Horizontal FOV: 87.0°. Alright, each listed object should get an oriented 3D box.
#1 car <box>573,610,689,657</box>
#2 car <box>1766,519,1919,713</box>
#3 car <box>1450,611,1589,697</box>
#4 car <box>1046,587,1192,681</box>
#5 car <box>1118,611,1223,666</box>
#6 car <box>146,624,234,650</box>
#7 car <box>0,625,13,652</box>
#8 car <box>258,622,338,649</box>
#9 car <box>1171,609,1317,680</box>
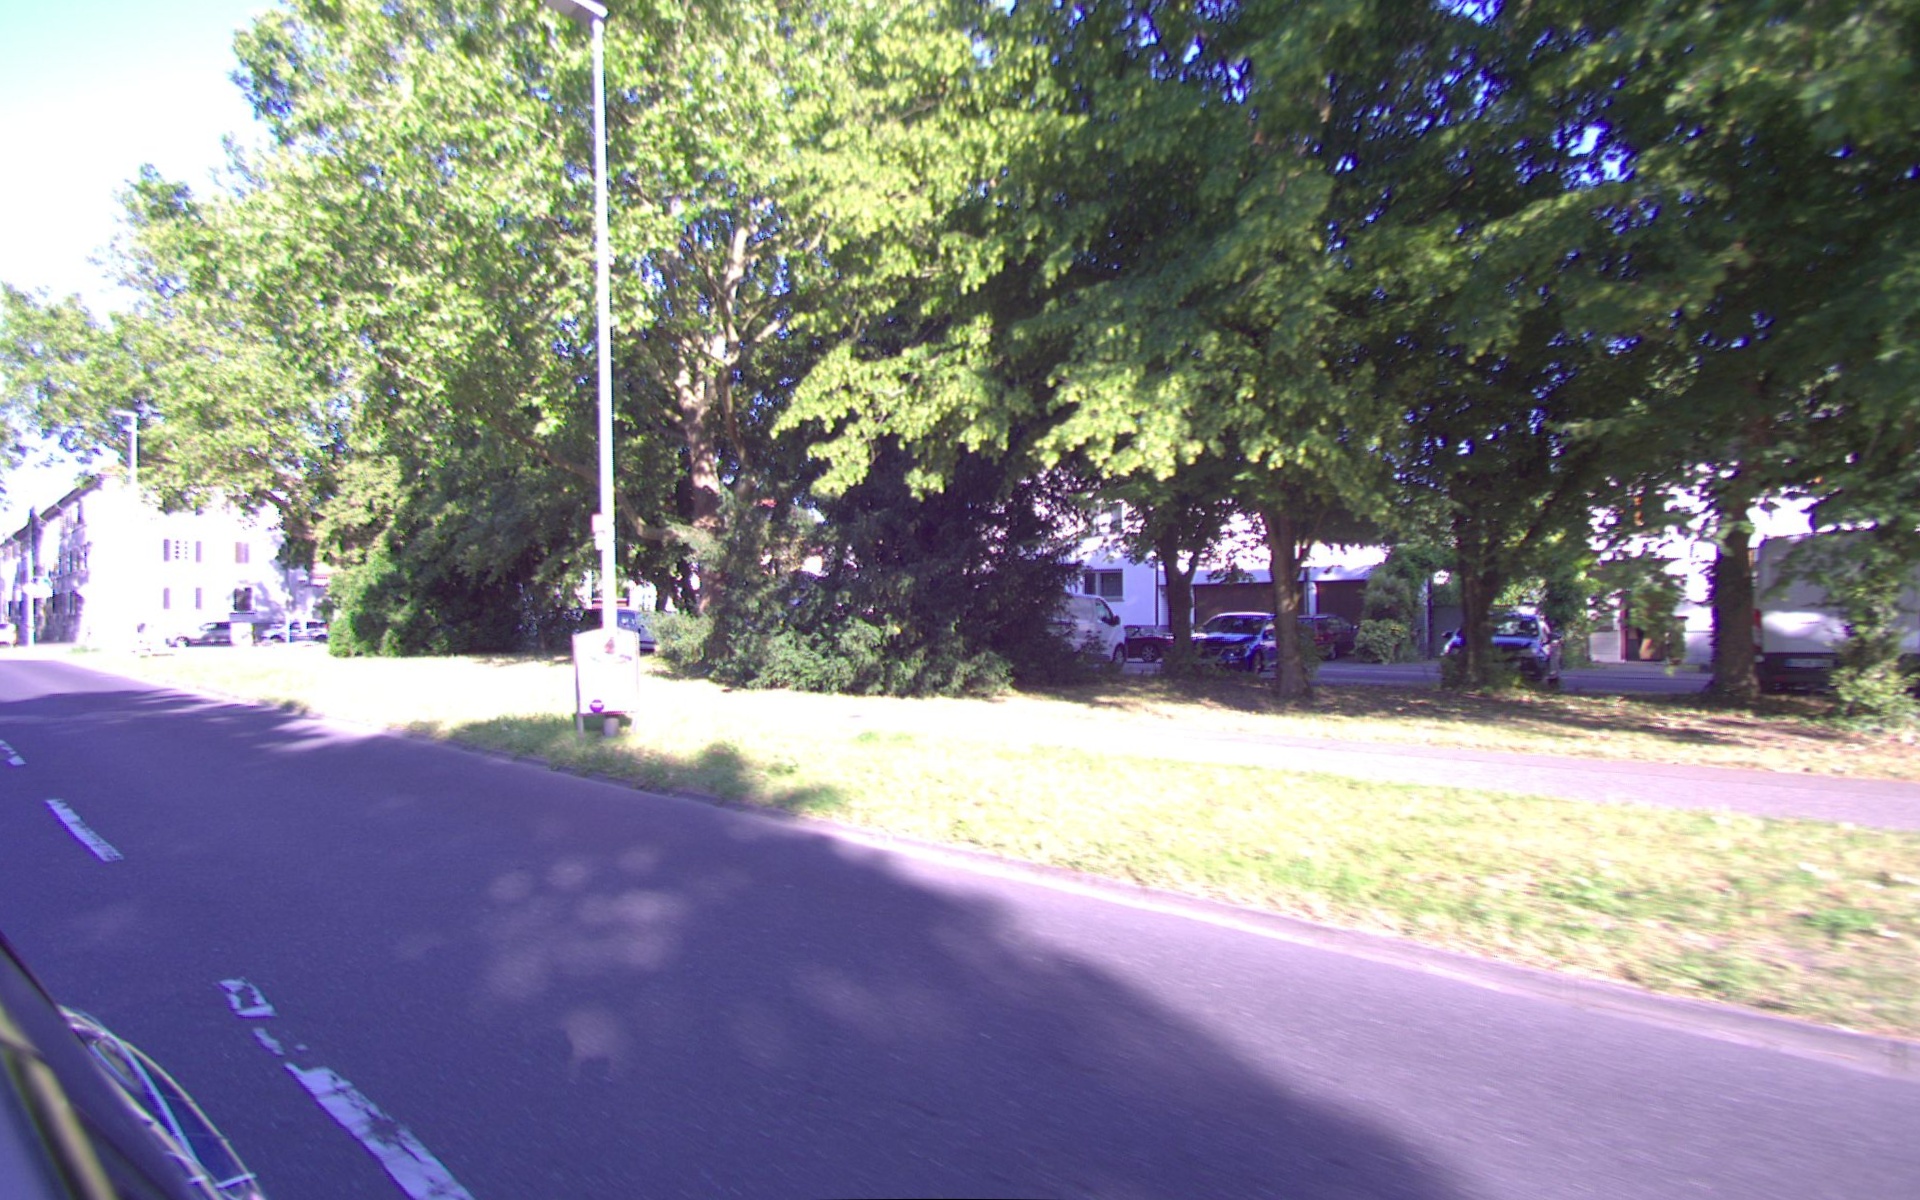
[{"bbox_3d":[-12.558,1.251,38.764,1.725,1.697,3.947,-1,-1,39],"label":"car"},{"bbox_3d":[13.823,0.307,15.537,2.184,2.521,5.376,-1,-3,39],"label":"car"},{"bbox_3d":[10.182,0.916,18.305,1.690,1.392,3.448,-1,-1,38],"label":"car"},{"bbox_3d":[3.903,0.776,24.306,1.903,2.060,3.954,-3,-2,34],"label":"car"},{"bbox_3d":[6.975,1.214,33.287,1.996,1.697,3.952,-1,-1,35],"label":"car"},{"bbox_3d":[-44.038,2.089,58.015,3.933,1.429,1.919,0,-1,-35],"label":"car"},{"bbox_3d":[-56.813,2.282,59.335,4.110,1.494,1.741,-2,0,45],"label":"car"},{"bbox_3d":[-39.814,2.105,60.892,3.933,1.573,1.869,0,-2,-35],"label":"car"},{"bbox_3d":[6.191,0.905,21.814,1.690,1.392,3.892,-1,-1,38],"label":"car"}]
